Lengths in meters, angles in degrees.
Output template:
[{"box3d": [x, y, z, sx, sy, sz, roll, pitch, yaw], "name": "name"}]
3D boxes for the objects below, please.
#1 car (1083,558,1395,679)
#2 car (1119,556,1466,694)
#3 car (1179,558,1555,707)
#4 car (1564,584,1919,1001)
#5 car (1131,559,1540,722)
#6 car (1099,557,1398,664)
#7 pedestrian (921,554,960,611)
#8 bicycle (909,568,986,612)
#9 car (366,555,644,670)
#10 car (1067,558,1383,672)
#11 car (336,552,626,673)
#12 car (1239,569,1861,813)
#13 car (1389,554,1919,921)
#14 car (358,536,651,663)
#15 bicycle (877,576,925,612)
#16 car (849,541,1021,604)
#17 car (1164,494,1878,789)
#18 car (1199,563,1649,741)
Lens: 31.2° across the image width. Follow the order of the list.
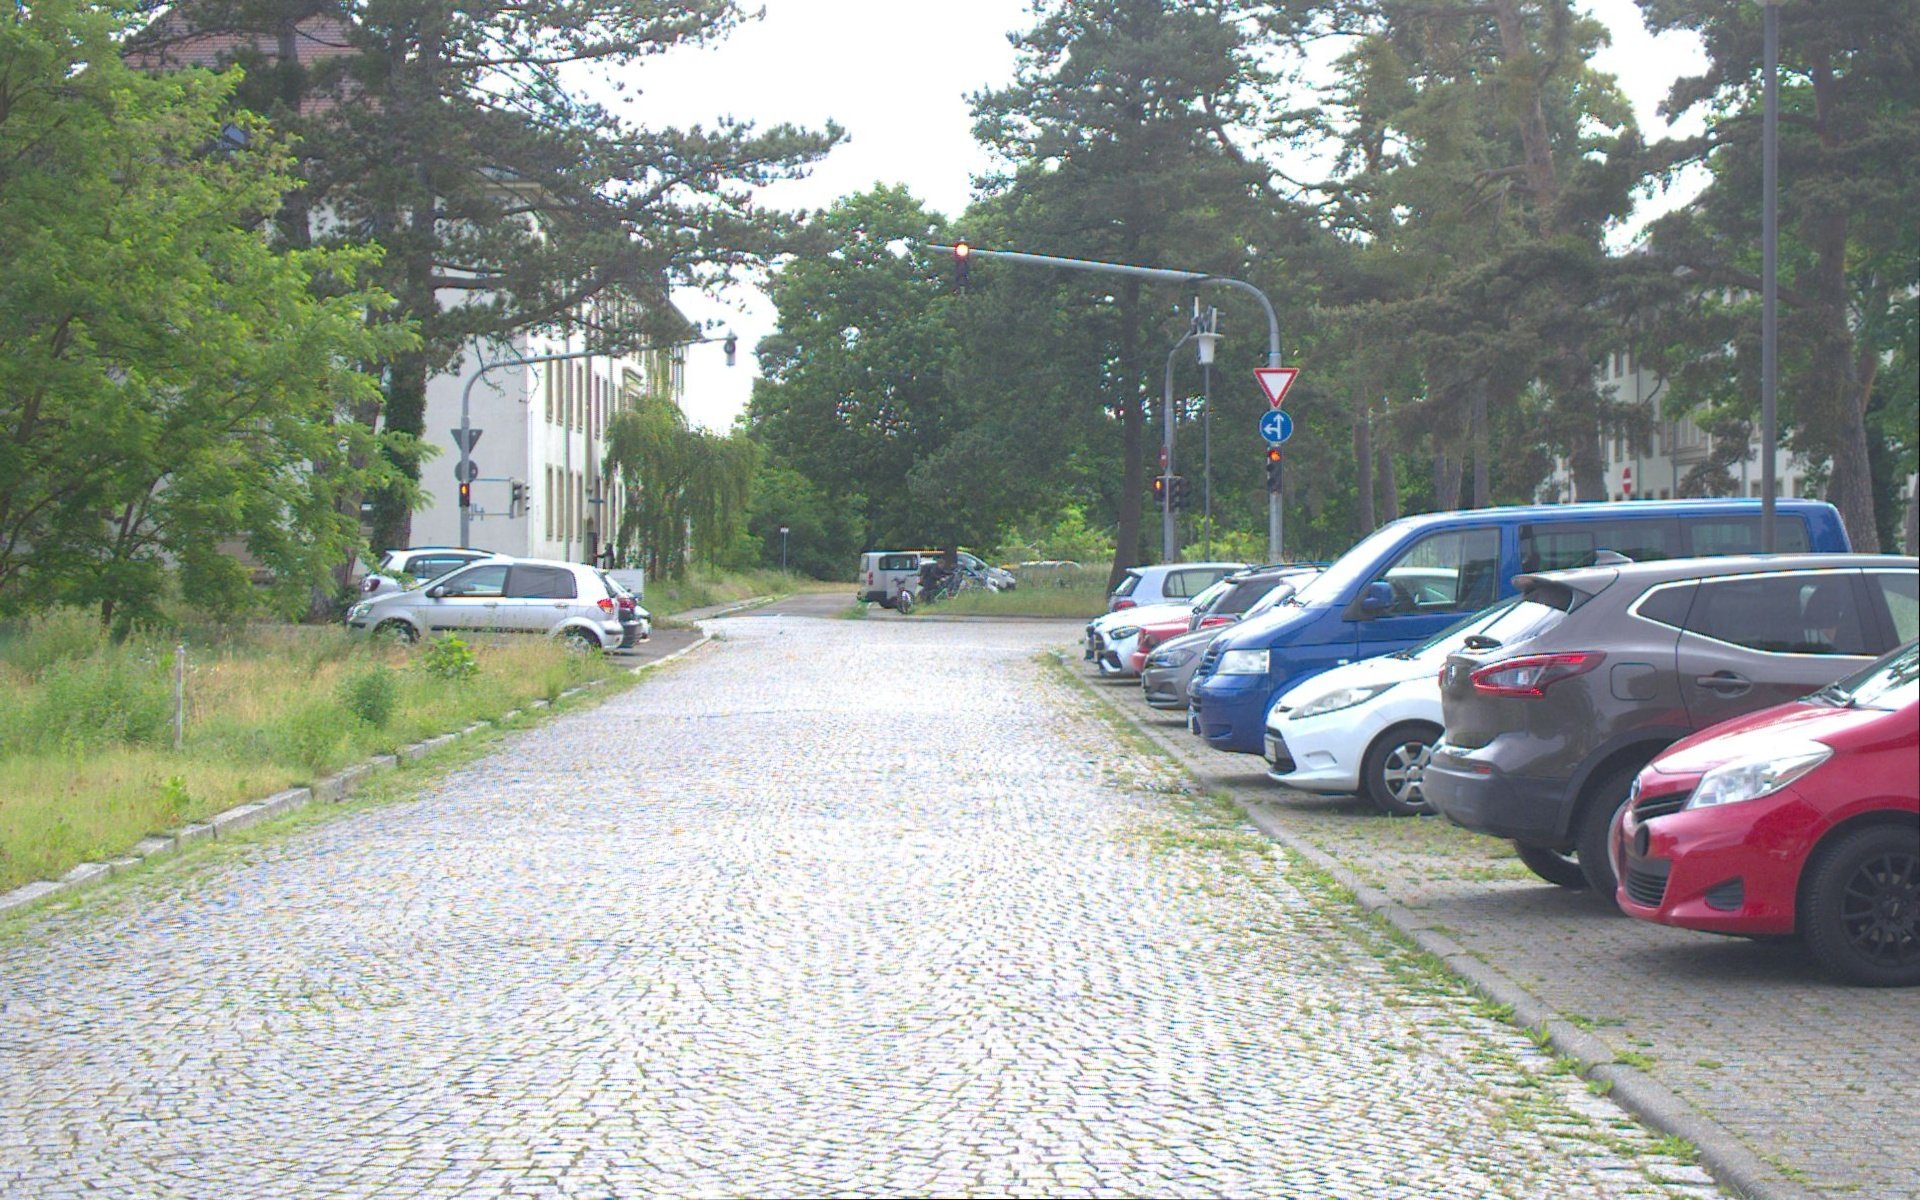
[{"box3d": [3.469, 0.216, 43.085, 3.671, 1.416, 1.524, -1, 0, -5], "name": "car"}, {"box3d": [3.689, 0.267, 38.549, 3.671, 1.444, 1.524, -1, 0, -2], "name": "car"}, {"box3d": [4.207, 0.322, 35.846, 3.671, 1.444, 1.524, -1, 0, -2], "name": "car"}, {"box3d": [4.381, 0.660, 13.173, 3.792, 1.455, 1.751, -1, 0, 0], "name": "car"}, {"box3d": [3.550, 0.372, 32.854, 3.671, 1.444, 1.524, -1, 0, -2], "name": "car"}, {"box3d": [4.046, 0.140, 48.594, 3.967, 1.416, 1.620, -1, 0, -5], "name": "car"}, {"box3d": [-0.562, -0.503, 97.840, 1.033, 1.608, 0.757, 1, 0, -5], "name": "pedestrian"}, {"box3d": [-0.359, -0.292, 97.500, 2.136, 1.210, 0.622, 1, 0, -5], "name": "bicycle"}, {"box3d": [-6.568, 0.177, 49.881, 3.821, 1.567, 1.564, -1, 0, -1], "name": "car"}, {"box3d": [3.514, 0.188, 45.941, 3.967, 1.416, 1.620, -1, 0, -5], "name": "car"}, {"box3d": [-6.575, 0.167, 47.464, 3.821, 1.567, 1.564, -1, 0, -4], "name": "car"}, {"box3d": [3.746, 0.558, 22.205, 3.671, 1.444, 1.615, -1, 0, -3], "name": "car"}, {"box3d": [4.141, 0.568, 15.830, 4.028, 1.547, 1.751, -1, 0, -3], "name": "car"}, {"box3d": [-6.961, -0.020, 52.865, 4.262, 1.834, 1.744, -1, 0, -1], "name": "car"}, {"box3d": [-1.607, -0.167, 93.424, 0.620, 0.942, 1.663, 1, 1, -28], "name": "bicycle"}, {"box3d": [-0.846, -0.919, 115.403, 5.444, 2.007, 2.269, 1, 1, -9], "name": "car"}, {"box3d": [3.953, 0.276, 24.797, 4.754, 1.948, 1.931, -1, 0, -2], "name": "car"}, {"box3d": [4.014, 0.439, 30.078, 3.671, 1.444, 1.524, -1, 0, -2], "name": "car"}]
